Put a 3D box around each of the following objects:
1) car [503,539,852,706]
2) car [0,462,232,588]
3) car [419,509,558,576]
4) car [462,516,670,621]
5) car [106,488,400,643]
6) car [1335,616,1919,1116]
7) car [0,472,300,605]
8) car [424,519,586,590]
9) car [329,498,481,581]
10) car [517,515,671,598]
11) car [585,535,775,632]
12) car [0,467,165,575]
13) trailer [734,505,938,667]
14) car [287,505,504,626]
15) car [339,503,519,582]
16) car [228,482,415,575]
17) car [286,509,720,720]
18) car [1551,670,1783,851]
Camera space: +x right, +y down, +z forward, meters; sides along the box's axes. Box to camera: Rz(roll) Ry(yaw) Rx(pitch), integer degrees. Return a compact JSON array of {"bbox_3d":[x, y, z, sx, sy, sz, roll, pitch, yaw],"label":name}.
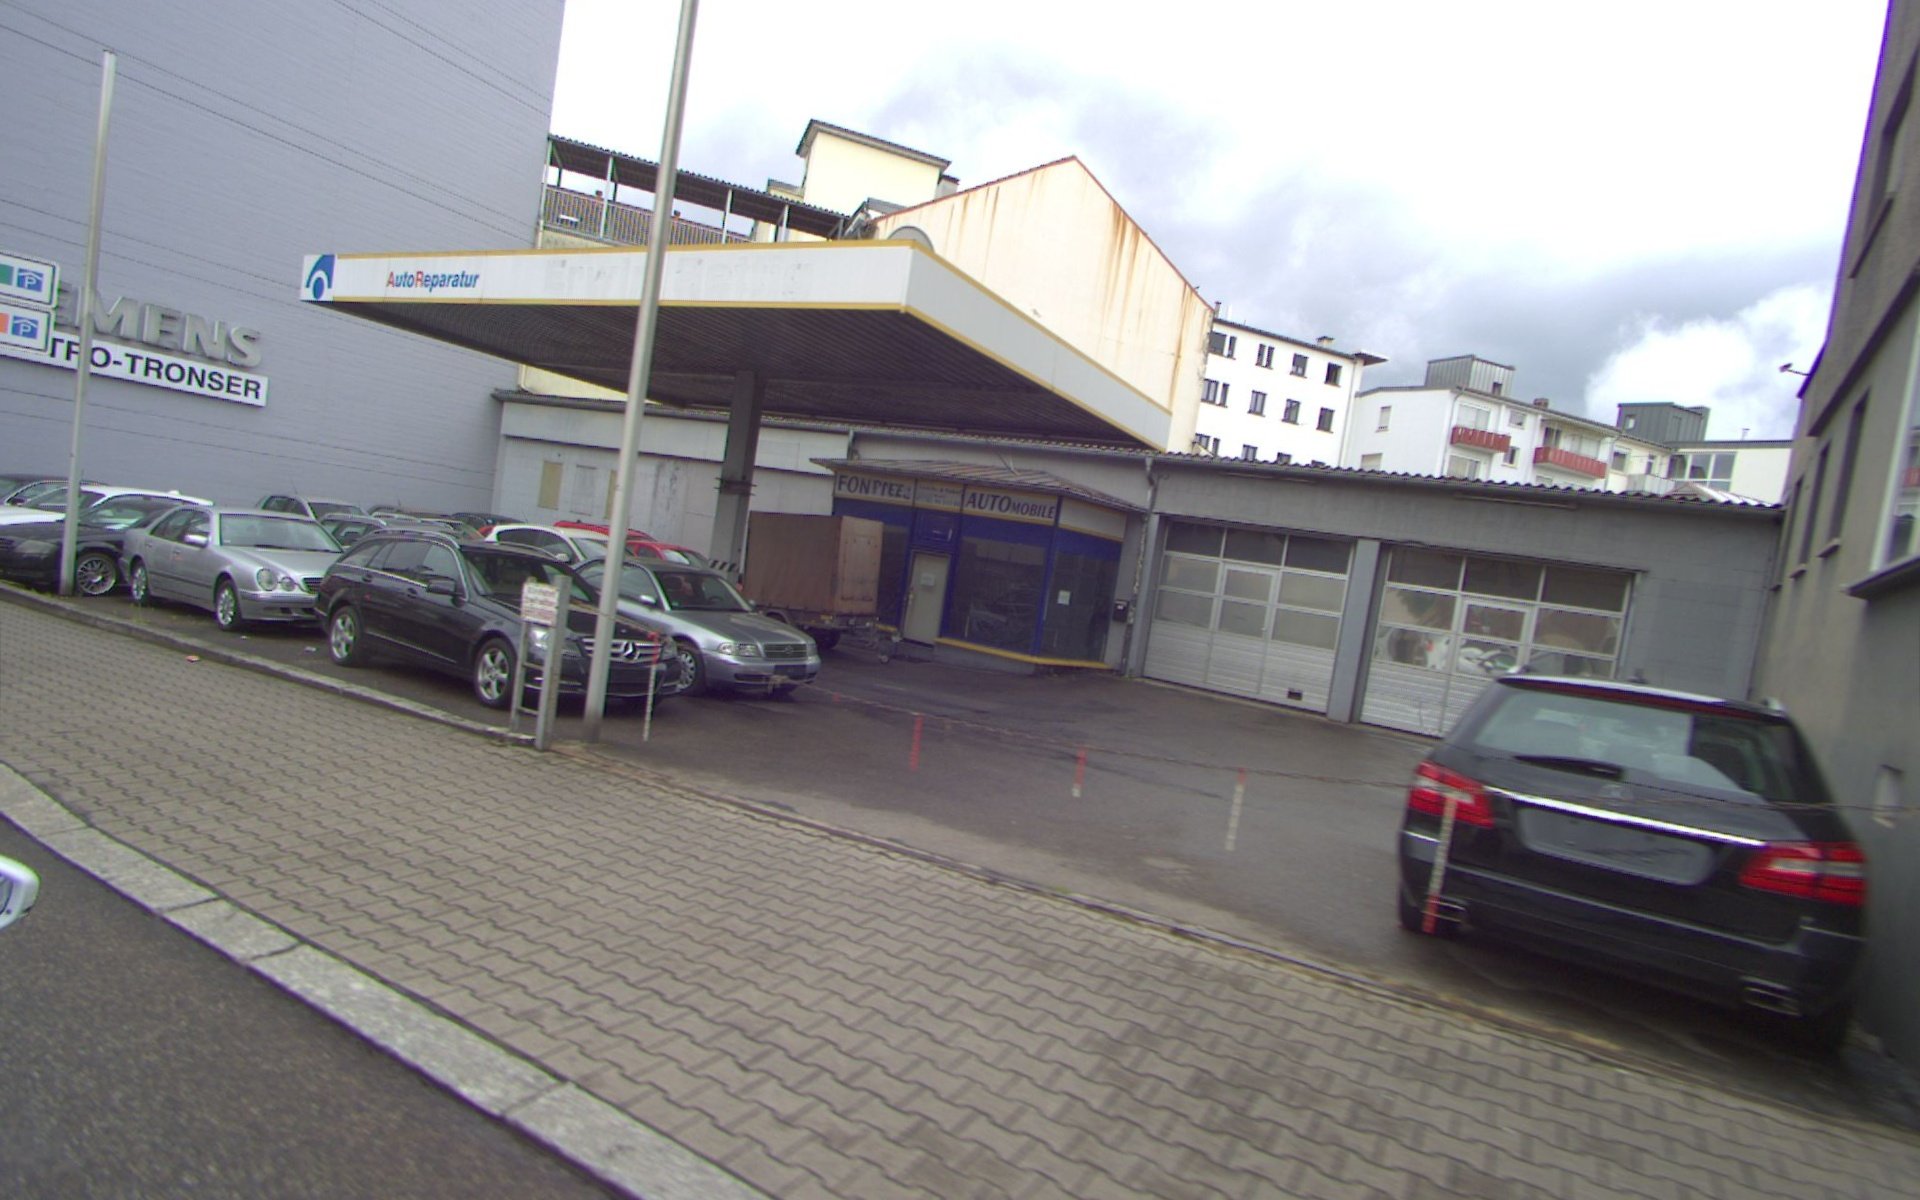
[{"bbox_3d":[-3.653,0.226,12.644,4.416,1.495,1.797,7,0,37],"label":"car"},{"bbox_3d":[-14.680,-1.217,16.641,1.765,1.616,4.004,6,-2,13],"label":"car"},{"bbox_3d":[-12.388,-1.520,26.411,3.295,1.370,1.455,6,-1,26],"label":"car"},{"bbox_3d":[-7.215,-0.583,18.378,3.460,1.530,1.555,6,-1,28],"label":"car"},{"bbox_3d":[-9.267,-0.477,13.107,4.002,1.495,1.568,7,0,31],"label":"car"},{"bbox_3d":[3.825,1.191,5.853,1.858,1.529,4.496,7,-2,35],"label":"car"},{"bbox_3d":[-12.593,-0.856,15.393,1.700,1.512,4.004,6,-2,13],"label":"car"},{"bbox_3d":[-10.231,-1.027,22.618,3.332,1.216,1.454,6,-1,26],"label":"car"},{"bbox_3d":[-13.435,-1.469,24.336,3.332,1.616,1.454,6,-1,26],"label":"car"},{"bbox_3d":[-8.796,-1.046,24.155,3.332,1.616,1.454,6,-1,26],"label":"car"},{"bbox_3d":[-5.589,-0.336,20.022,3.460,1.530,1.453,6,-1,28],"label":"car"},{"bbox_3d":[-16.919,-1.490,17.907,1.765,1.616,4.004,6,-2,13],"label":"car"},{"bbox_3d":[-2.217,-0.267,17.760,3.151,2.467,1.429,7,2,30],"label":"trailer"},{"bbox_3d":[-8.902,-0.563,15.806,3.338,1.530,1.529,5,-1,34],"label":"car"},{"bbox_3d":[-10.762,-1.173,20.372,3.332,1.216,1.454,6,-1,26],"label":"car"},{"bbox_3d":[-14.103,-1.575,22.196,3.799,1.616,1.649,6,-1,26],"label":"car"},{"bbox_3d":[-4.722,0.087,10.181,4.412,1.495,1.799,7,-1,33],"label":"car"},{"bbox_3d":[8.667,1.781,12.424,1.858,1.532,4.239,7,2,35],"label":"car"}]
